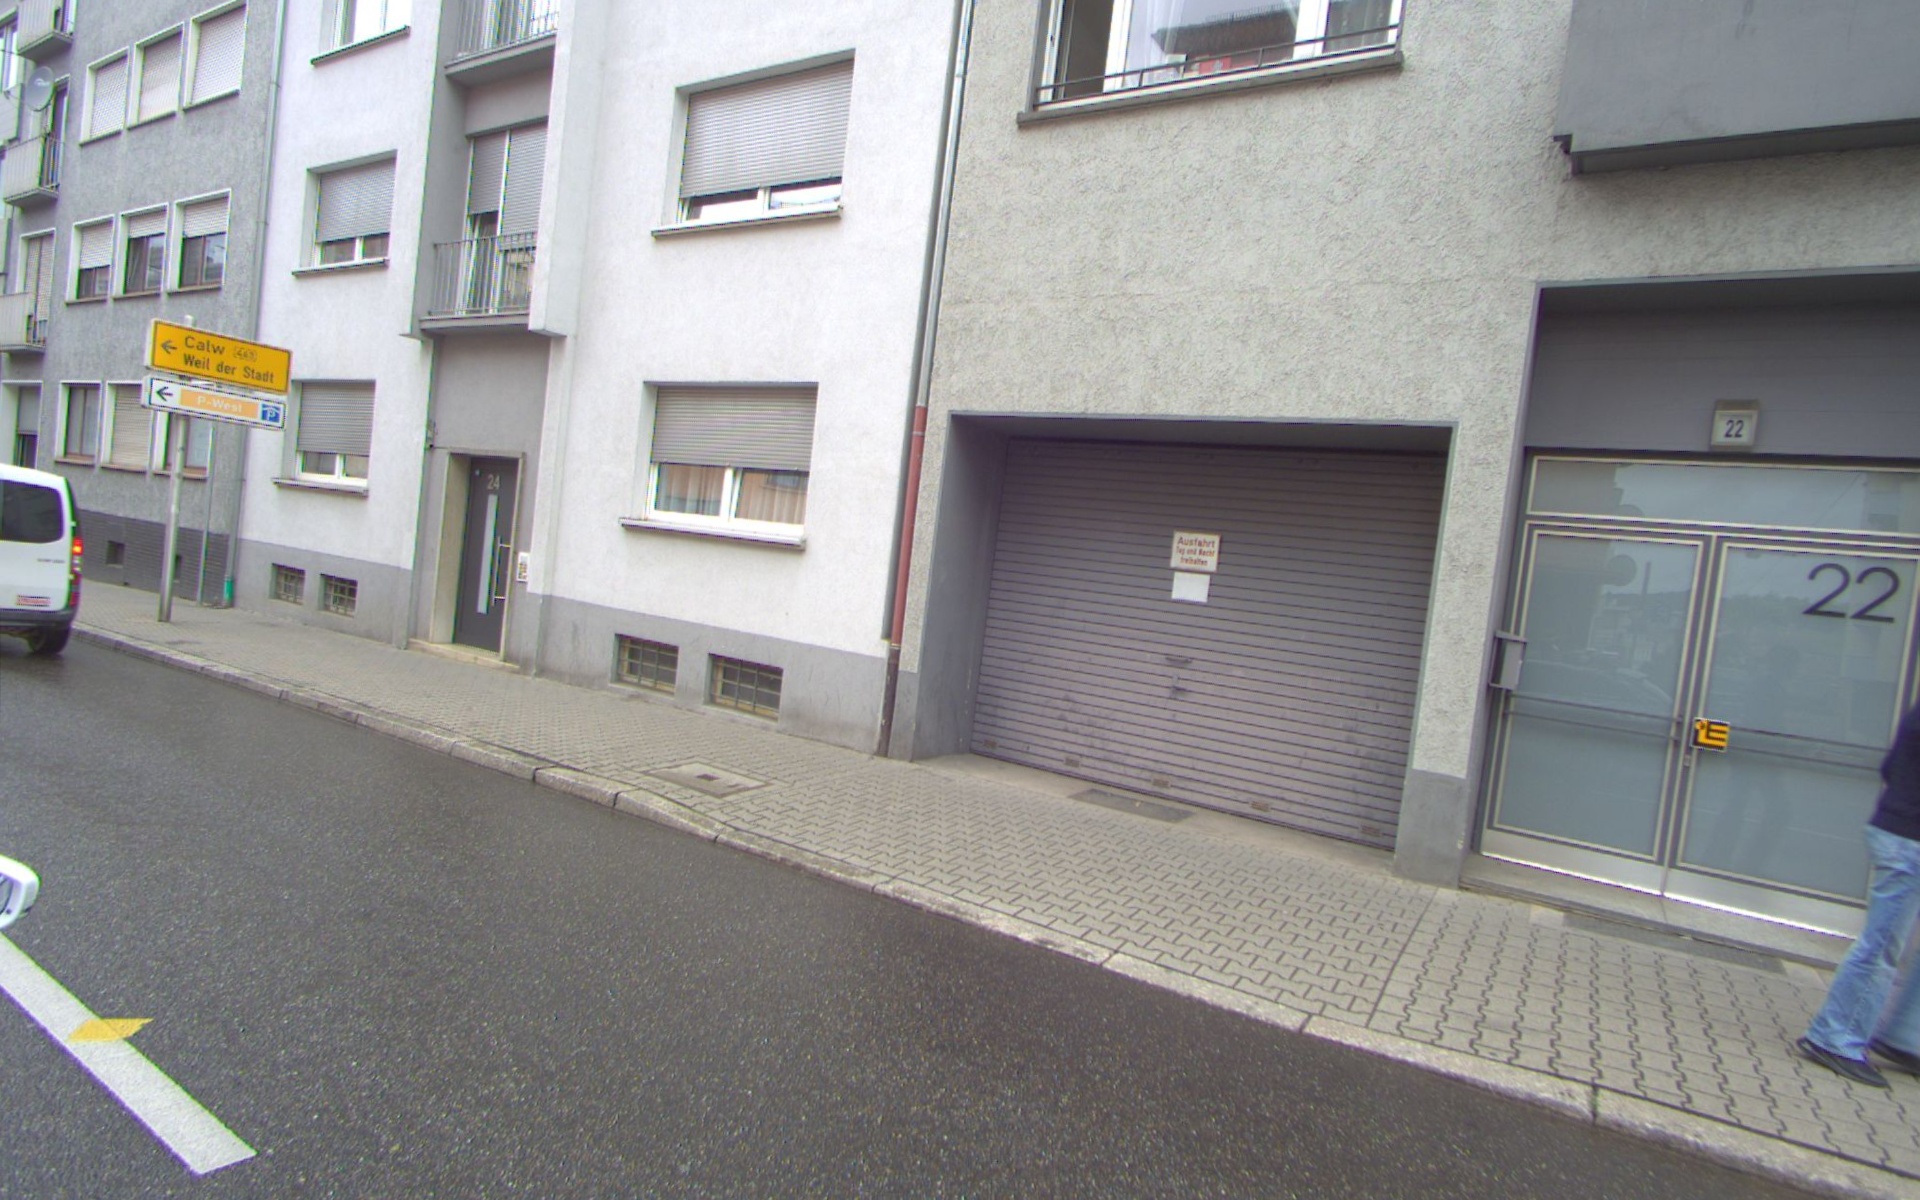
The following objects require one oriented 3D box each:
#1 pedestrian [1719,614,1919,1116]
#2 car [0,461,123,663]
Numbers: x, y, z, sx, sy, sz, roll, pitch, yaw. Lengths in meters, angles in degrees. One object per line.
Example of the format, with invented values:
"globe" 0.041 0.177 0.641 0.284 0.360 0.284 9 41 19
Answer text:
"pedestrian" 3.766 1.005 3.921 1.039 1.802 0.643 7 4 31
"car" -10.736 -0.587 10.186 4.667 1.796 1.944 7 -1 31
